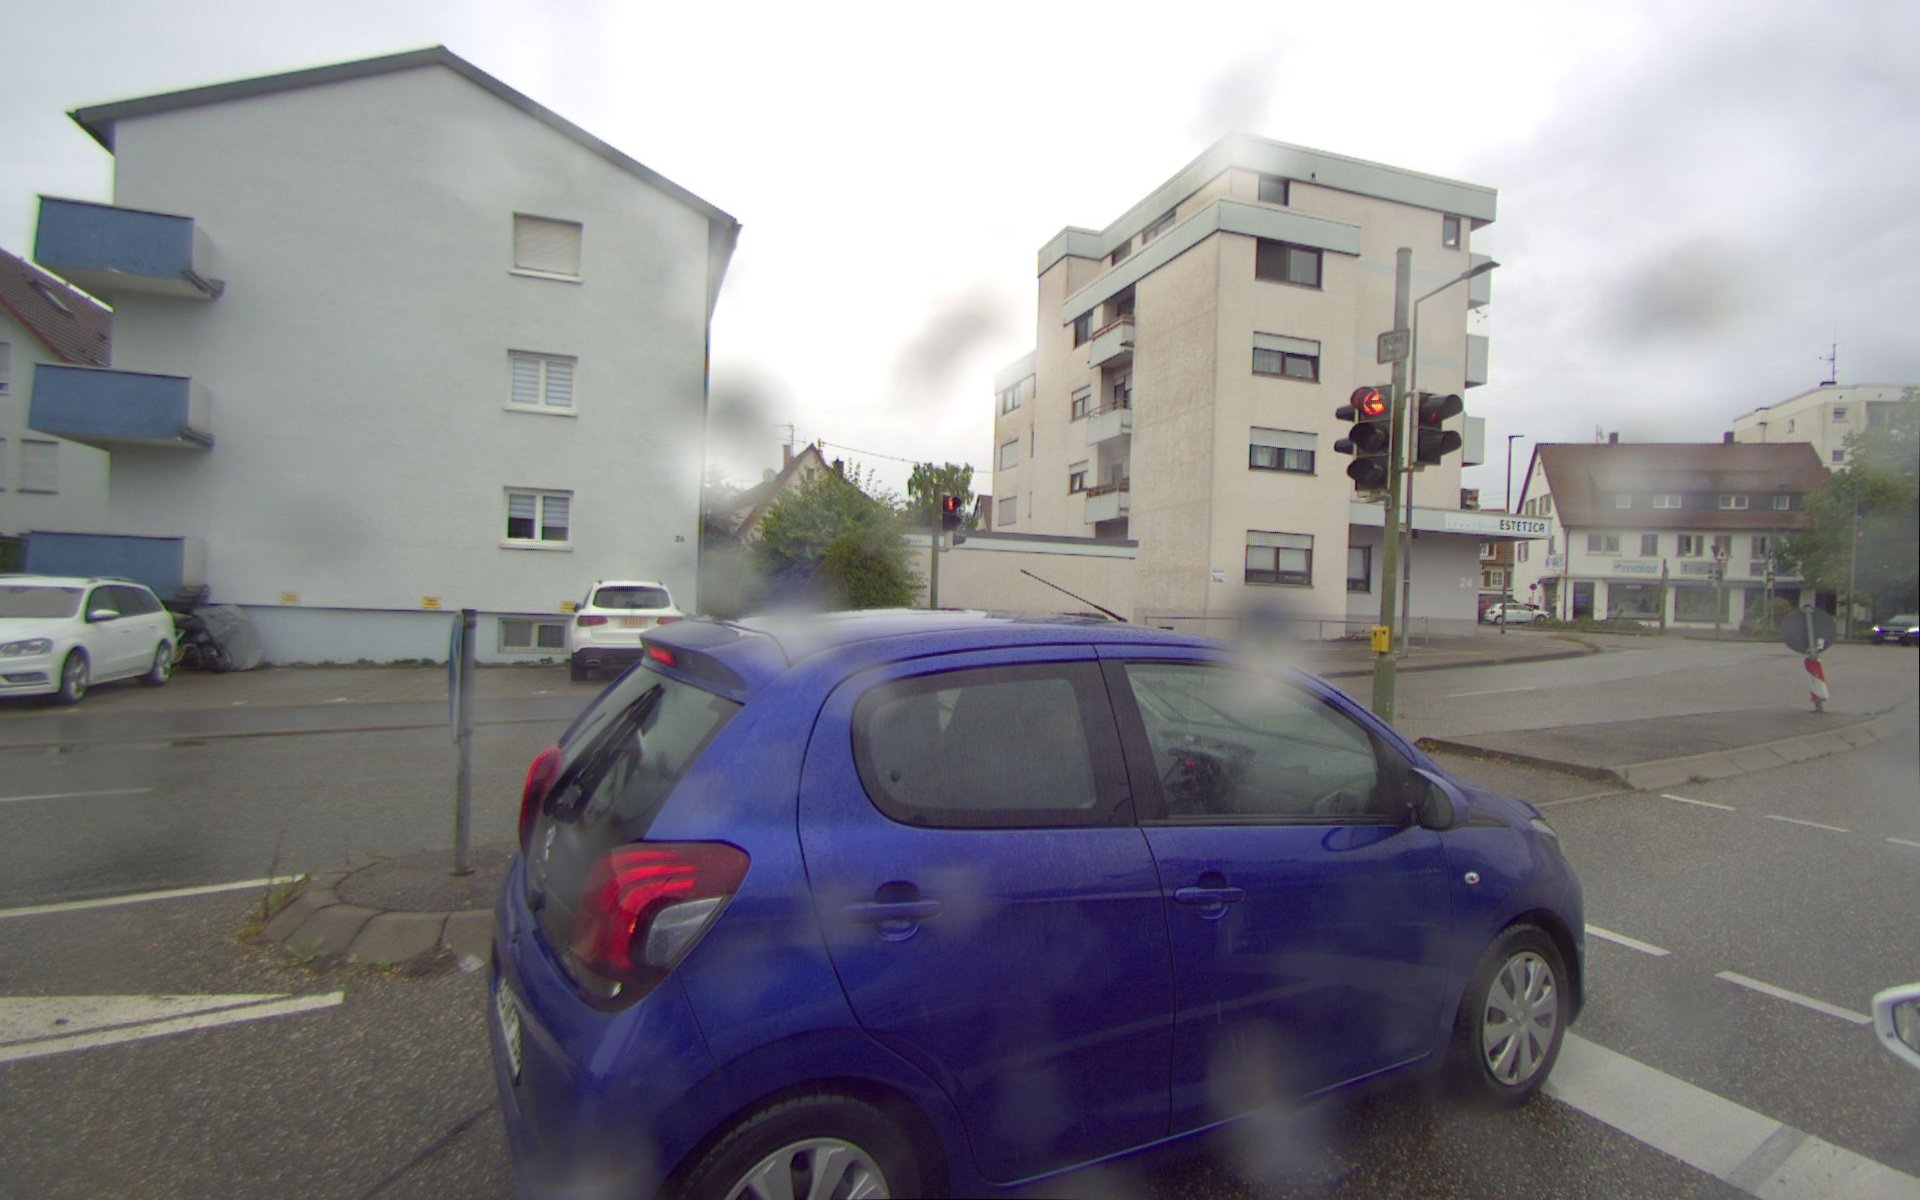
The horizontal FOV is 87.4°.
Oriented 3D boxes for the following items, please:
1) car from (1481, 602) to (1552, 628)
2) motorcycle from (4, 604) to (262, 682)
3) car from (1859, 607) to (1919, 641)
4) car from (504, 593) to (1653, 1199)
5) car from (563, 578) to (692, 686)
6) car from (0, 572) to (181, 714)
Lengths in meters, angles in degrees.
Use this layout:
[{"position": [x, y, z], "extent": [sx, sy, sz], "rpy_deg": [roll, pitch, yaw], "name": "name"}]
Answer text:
[{"position": [38.064, 1.015, 68.773], "extent": [3.887, 1.593, 1.873], "rpy_deg": [1, 1, 17], "name": "car"}, {"position": [-13.124, 0.642, 16.078], "extent": [0.864, 1.115, 3.113], "rpy_deg": [2, 1, 43], "name": "motorcycle"}, {"position": [42.319, 1.057, 45.150], "extent": [3.785, 1.439, 1.770], "rpy_deg": [1, 0, -30], "name": "car"}, {"position": [0.429, 0.734, 3.111], "extent": [3.231, 1.429, 1.571], "rpy_deg": [1, 1, -30], "name": "car"}, {"position": [-5.907, 0.503, 17.828], "extent": [1.909, 1.658, 4.446], "rpy_deg": [1, 0, -19], "name": "car"}, {"position": [-11.374, 0.446, 12.306], "extent": [1.878, 1.493, 4.209], "rpy_deg": [1, 0, -24], "name": "car"}]
